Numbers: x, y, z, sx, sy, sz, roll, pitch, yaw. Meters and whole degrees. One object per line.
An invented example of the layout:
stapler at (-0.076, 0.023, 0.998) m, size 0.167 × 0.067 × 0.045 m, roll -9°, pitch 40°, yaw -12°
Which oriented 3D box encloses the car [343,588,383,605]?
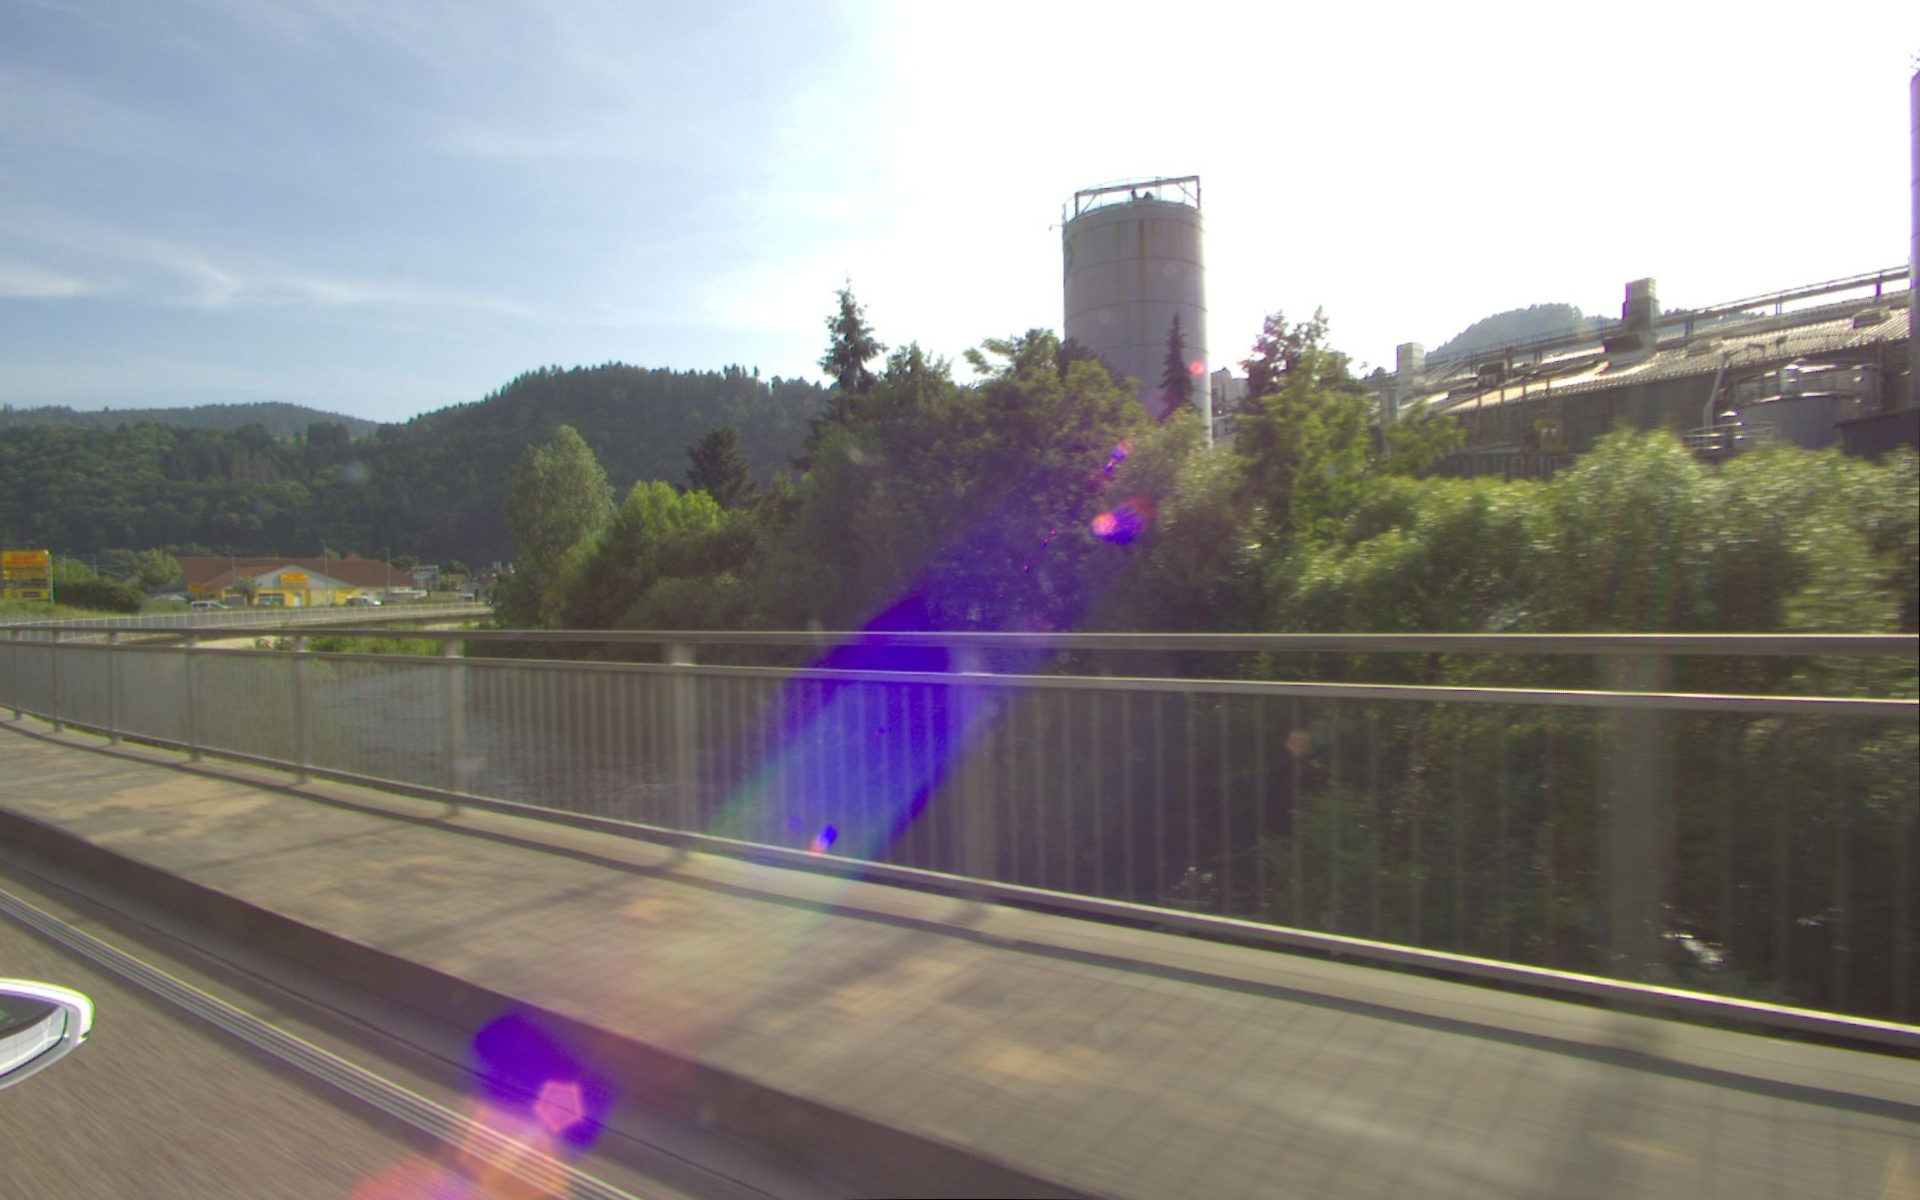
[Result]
car at (-78.638, -0.422, 131.969) m, size 3.922 × 2.037 × 2.002 m, roll 0°, pitch -4°, yaw -4°
